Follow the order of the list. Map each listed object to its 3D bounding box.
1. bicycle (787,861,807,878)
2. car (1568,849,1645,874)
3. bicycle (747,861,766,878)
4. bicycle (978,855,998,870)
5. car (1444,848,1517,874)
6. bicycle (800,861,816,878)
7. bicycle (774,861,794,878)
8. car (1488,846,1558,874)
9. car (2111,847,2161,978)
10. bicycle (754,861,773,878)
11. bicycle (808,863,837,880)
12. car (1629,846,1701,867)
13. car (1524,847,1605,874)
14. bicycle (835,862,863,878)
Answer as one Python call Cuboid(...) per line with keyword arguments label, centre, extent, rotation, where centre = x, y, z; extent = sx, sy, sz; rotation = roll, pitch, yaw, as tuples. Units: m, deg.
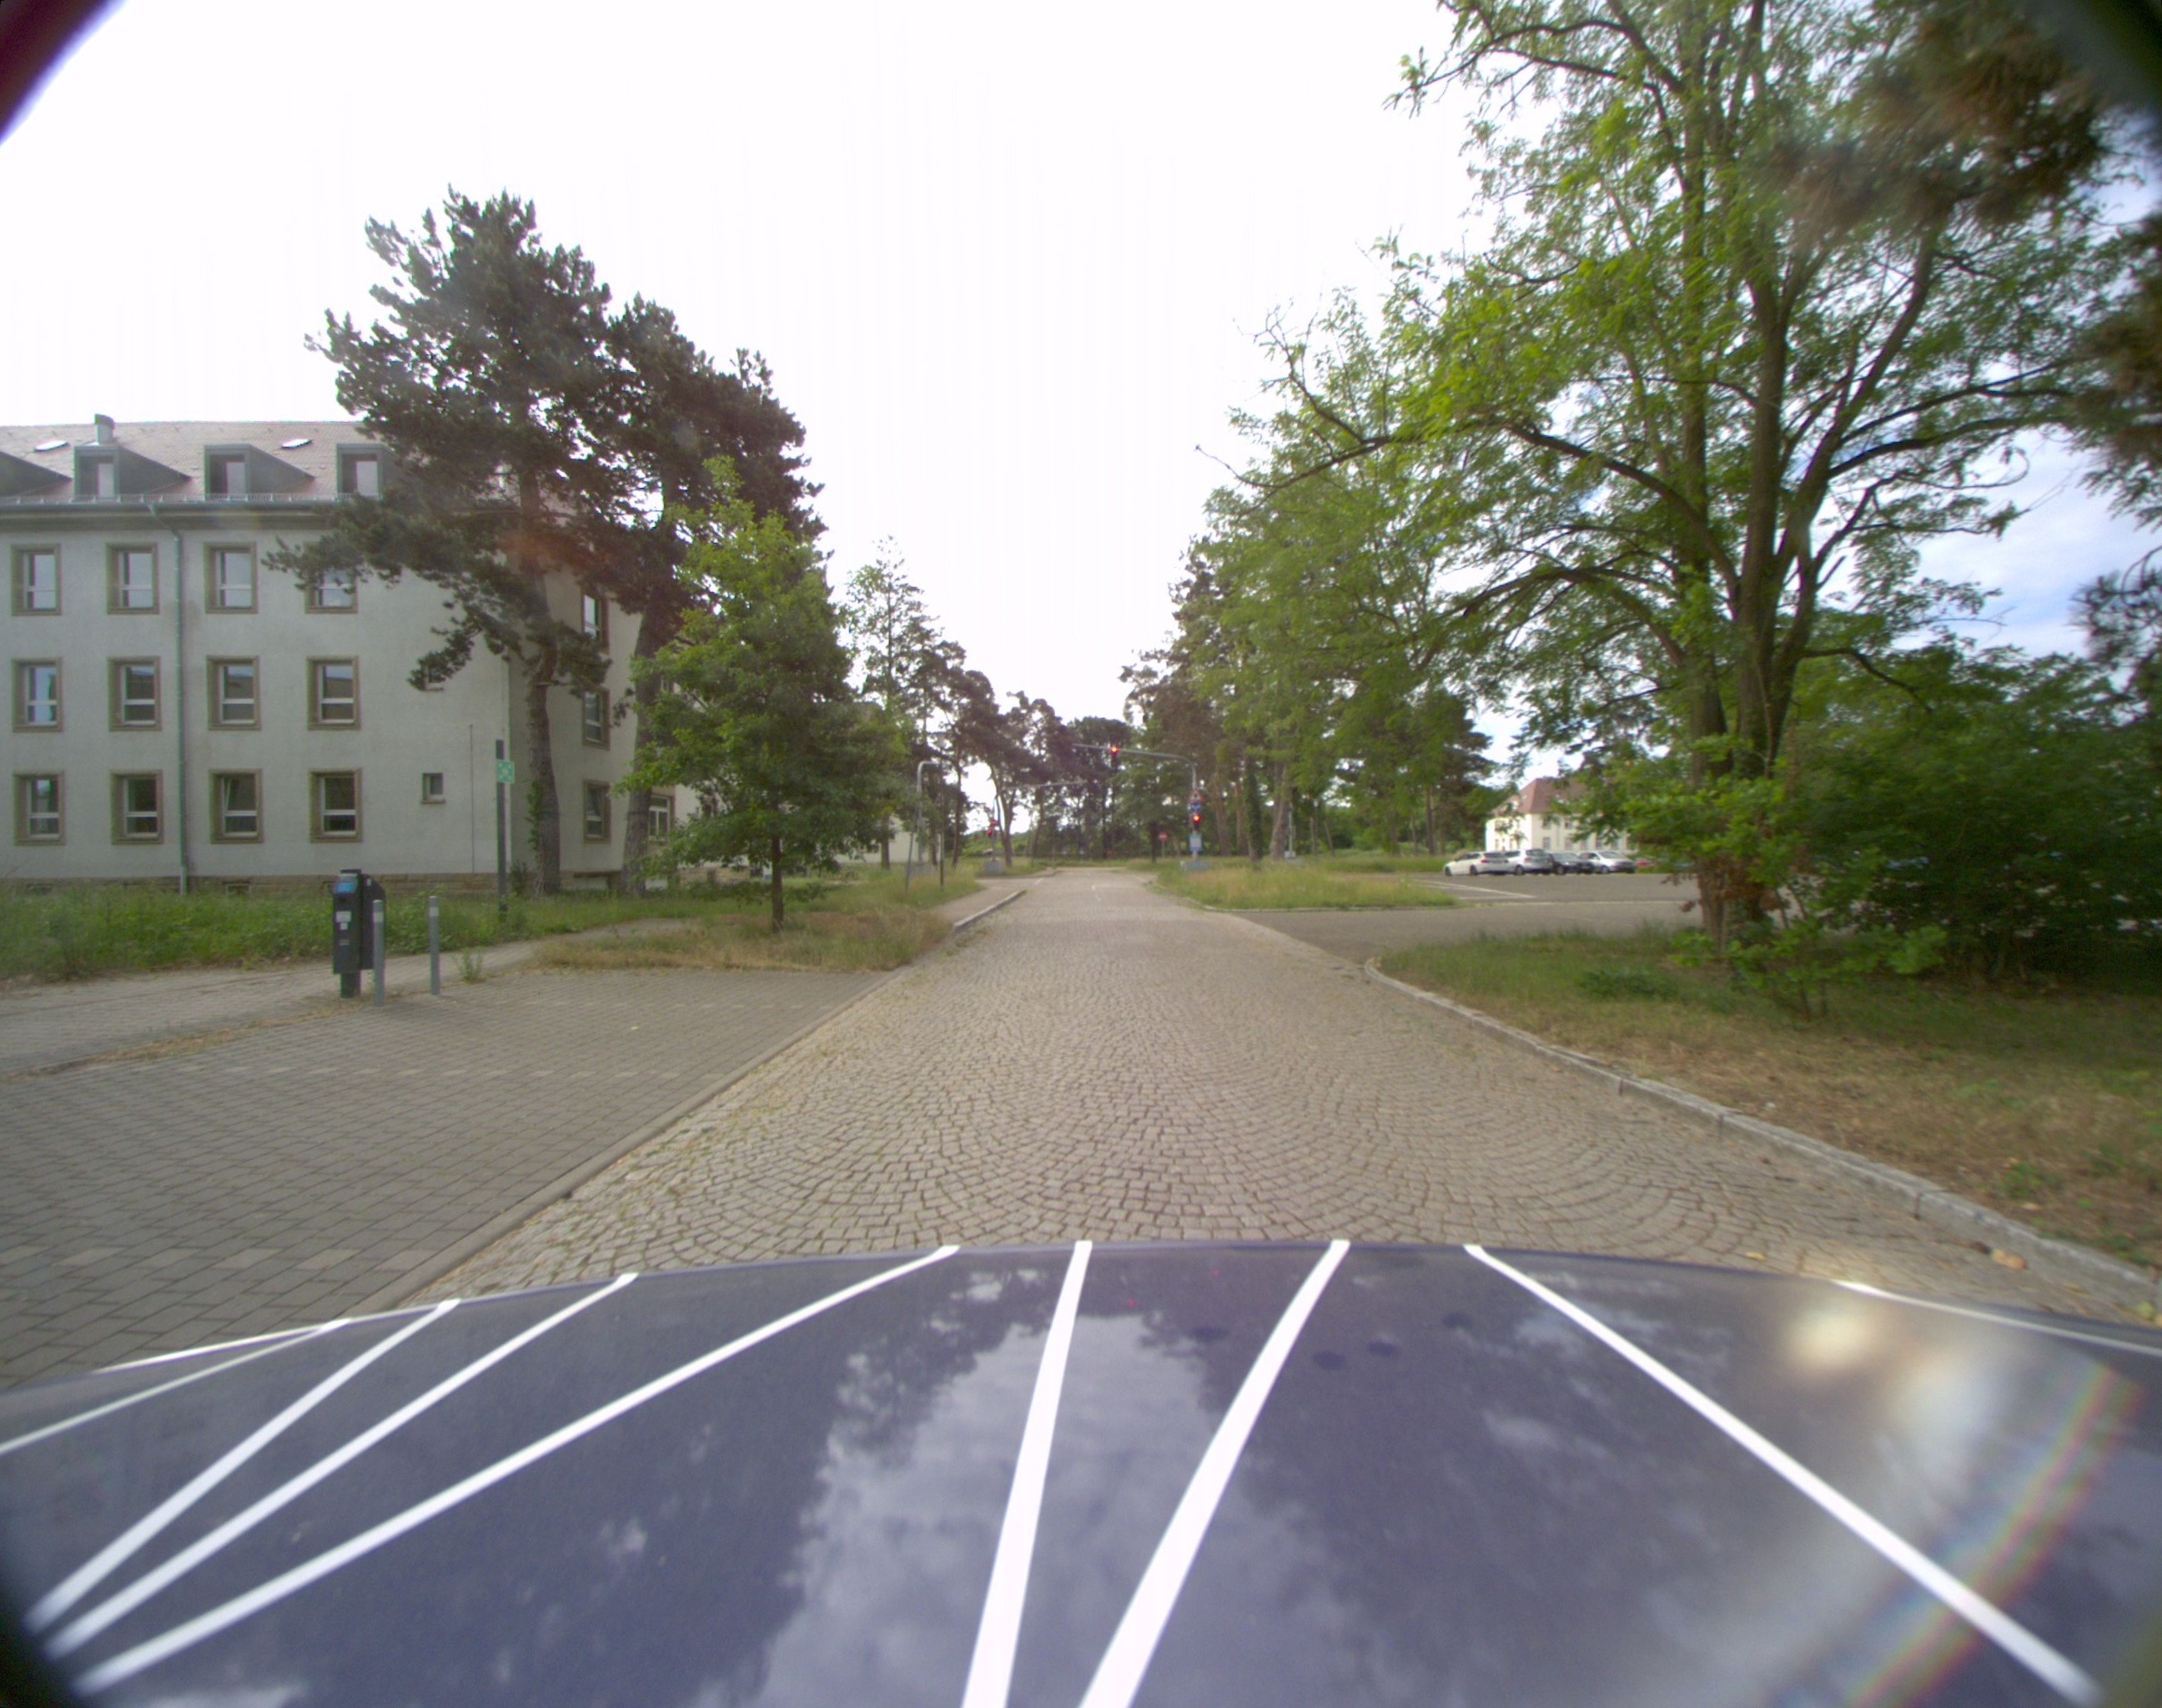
Cuboid(label="bicycle", centre=(-19.262, 1.057, 51.620), extent=(0.476, 1.121, 1.704), rotation=(-1, 0, 9))
Cuboid(label="car", centre=(30.967, 0.400, 44.927), extent=(1.637, 1.391, 4.036), rotation=(-1, 0, -3))
Cuboid(label="bicycle", centre=(-22.085, 1.055, 51.723), extent=(0.448, 1.121, 1.731), rotation=(-1, 0, 3))
Cuboid(label="bicycle", centre=(-7.127, 0.629, 58.328), extent=(0.613, 1.079, 1.660), rotation=(0, 1, 32))
Cuboid(label="car", centre=(23.015, 0.371, 43.962), extent=(1.829, 1.417, 4.319), rotation=(-1, 0, -3))
Cuboid(label="bicycle", centre=(-18.638, 1.060, 51.854), extent=(0.476, 1.121, 1.656), rotation=(-1, 0, -1))
Cuboid(label="bicycle", centre=(-20.232, 1.071, 51.708), extent=(0.447, 1.121, 1.732), rotation=(-1, 0, 9))
Cuboid(label="car", centre=(25.523, 0.383, 44.018), extent=(1.674, 1.511, 3.899), rotation=(-1, -1, -3))
Cuboid(label="car", centre=(12.701, 0.660, 6.443), extent=(1.829, 1.408, 4.420), rotation=(2, 0, -2))
Cuboid(label="bicycle", centre=(-21.575, 1.060, 51.702), extent=(0.448, 1.121, 1.731), rotation=(-1, 0, 3))
Cuboid(label="bicycle", centre=(-17.069, 1.135, 50.222), extent=(1.655, 1.079, 0.615), rotation=(-1, 1, 2))
Cuboid(label="car", centre=(42.676, 0.150, 55.659), extent=(1.829, 1.467, 4.401), rotation=(-1, 0, -3))
Cuboid(label="car", centre=(28.171, 0.346, 44.436), extent=(1.829, 1.467, 4.401), rotation=(-1, 0, -3))
Cuboid(label="bicycle", centre=(-15.370, 1.056, 50.367), extent=(1.656, 1.079, 0.614), rotation=(-1, 1, -3))
